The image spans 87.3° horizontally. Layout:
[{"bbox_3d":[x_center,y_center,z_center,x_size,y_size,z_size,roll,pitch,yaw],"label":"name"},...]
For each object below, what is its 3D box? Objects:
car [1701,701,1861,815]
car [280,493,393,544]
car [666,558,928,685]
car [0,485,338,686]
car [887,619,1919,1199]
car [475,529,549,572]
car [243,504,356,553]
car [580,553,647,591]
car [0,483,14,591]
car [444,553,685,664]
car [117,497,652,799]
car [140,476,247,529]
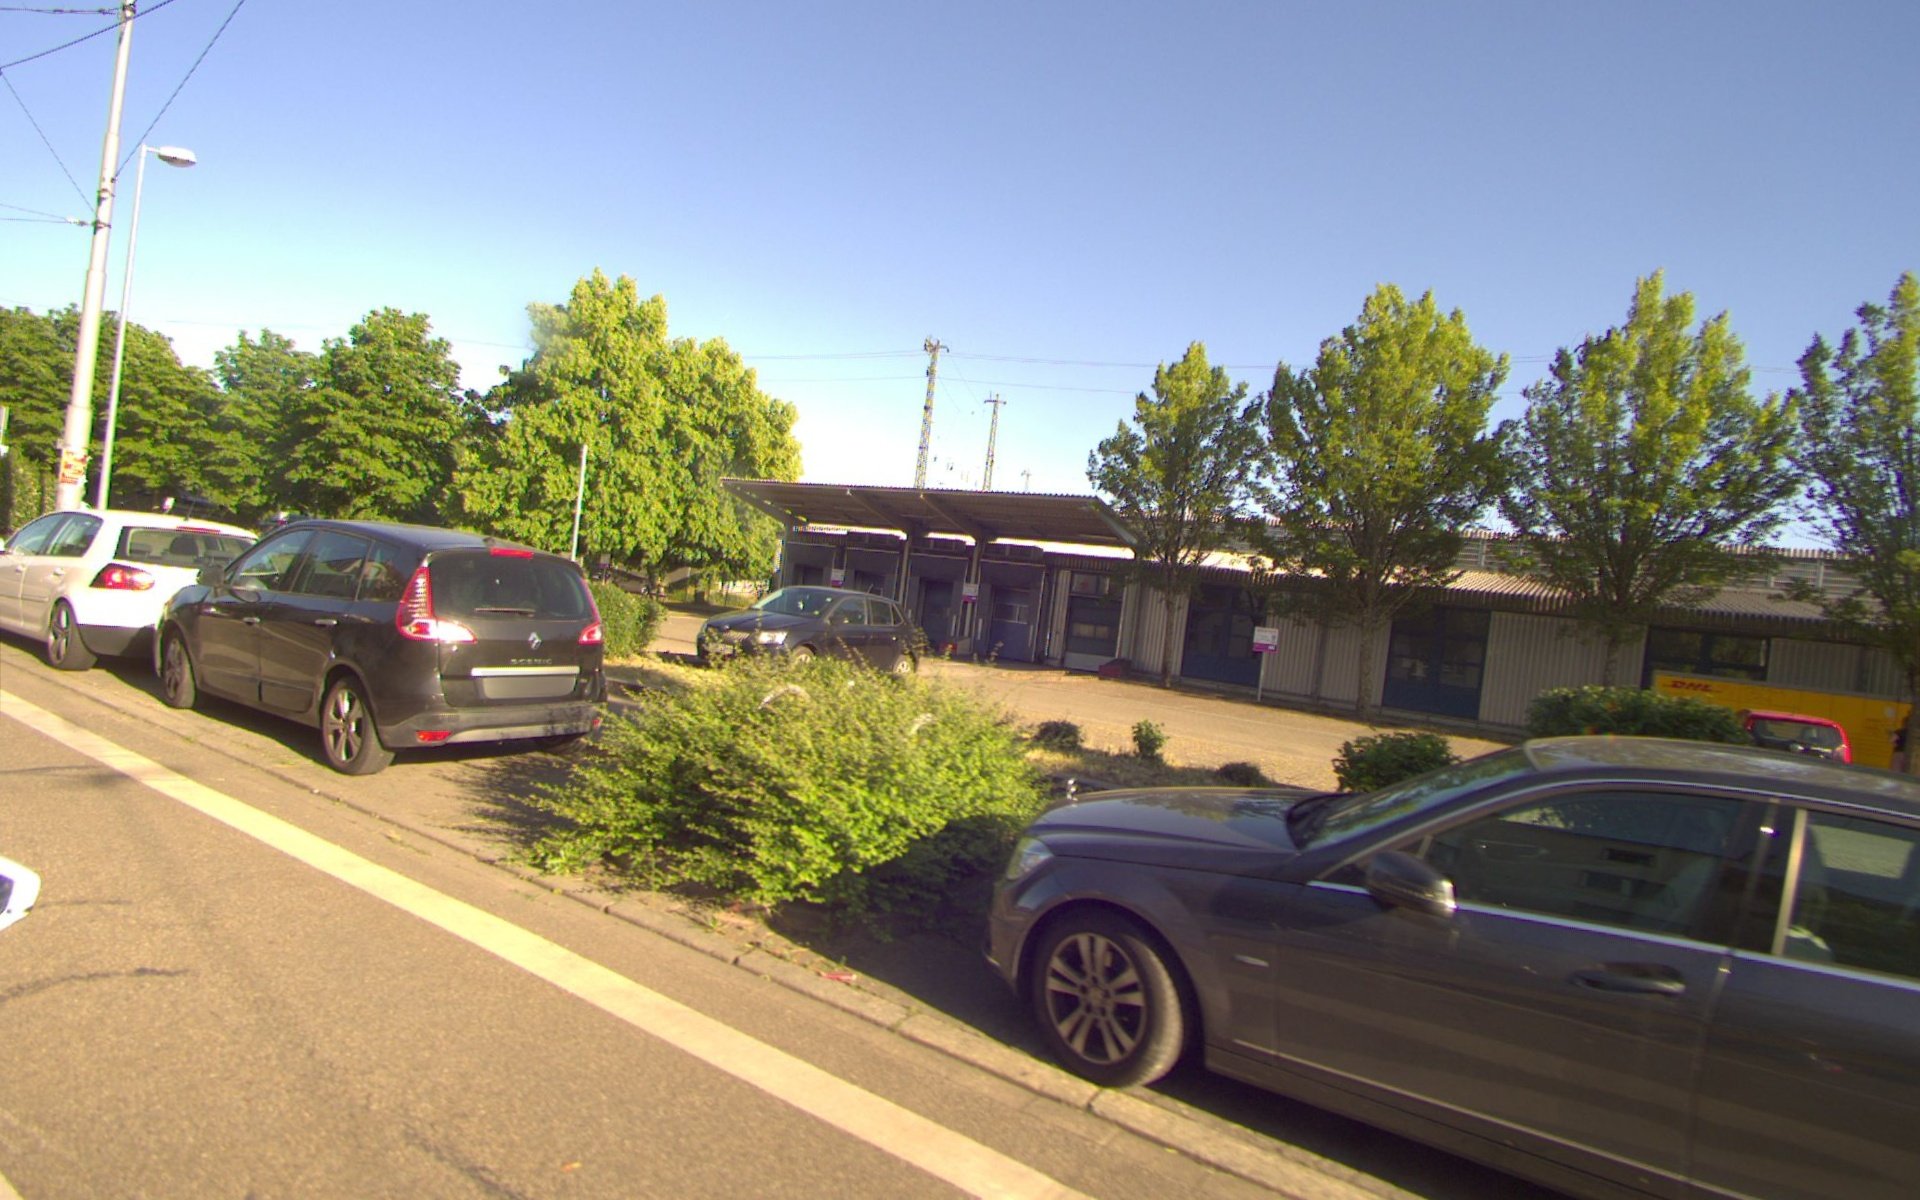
[{"bbox_3d":[14.278,2.664,17.674,1.712,1.515,3.314,7,0,34],"label":"car"},{"bbox_3d":[-32.963,-4.296,53.339,1.926,1.837,4.699,7,-2,23],"label":"car"},{"bbox_3d":[-2.262,0.391,14.881,1.729,1.416,3.710,7,-2,31],"label":"car"},{"bbox_3d":[-8.415,-0.205,10.133,4.179,1.530,1.732,7,-1,29],"label":"car"},{"bbox_3d":[2.105,1.105,3.487,4.425,1.481,1.731,7,-2,33],"label":"car"},{"bbox_3d":[-30.046,-3.285,67.630,2.032,2.329,4.201,7,0,20],"label":"car"},{"bbox_3d":[-35.805,-3.862,54.647,1.926,1.837,4.699,7,-2,23],"label":"car"},{"bbox_3d":[-22.320,-1.767,65.019,1.711,1.945,4.140,7,0,20],"label":"car"},{"bbox_3d":[-16.224,-1.191,14.962,4.523,1.549,1.913,7,0,31],"label":"car"},{"bbox_3d":[-5.247,0.103,13.284,3.005,1.045,1.312,7,-2,31],"label":"car"},{"bbox_3d":[-4.596,0.209,7.833,4.271,1.625,1.728,7,2,32],"label":"car"},{"bbox_3d":[-43.446,-5.470,57.143,2.104,2.269,4.201,7,0,20],"label":"car"}]
